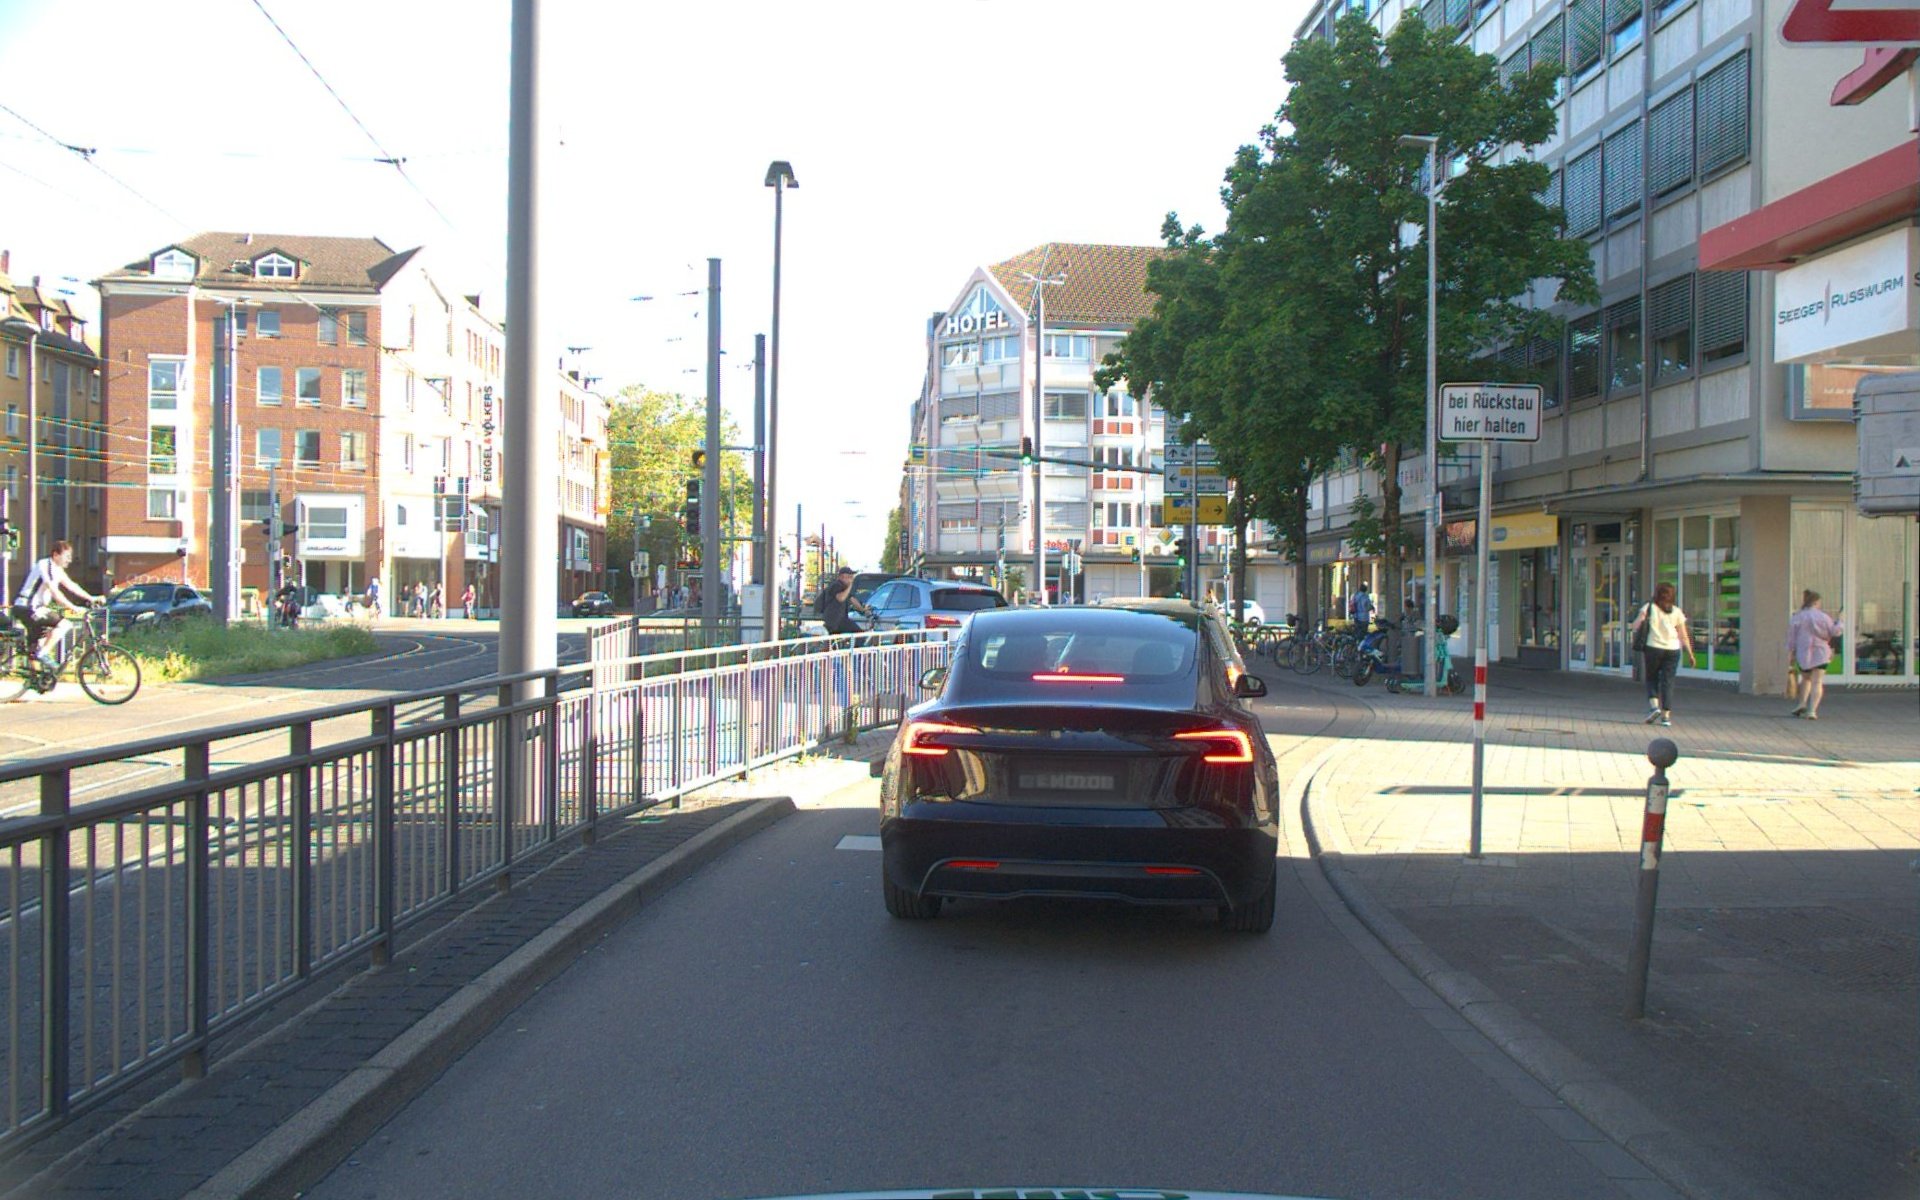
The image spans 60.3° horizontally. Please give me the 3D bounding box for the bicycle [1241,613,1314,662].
[{"bbox_3d":[7.376,0.866,38.398,1.616,1.118,0.350,1,-1,1],"label":"bicycle"}]

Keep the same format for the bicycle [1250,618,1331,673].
[{"bbox_3d":[6.871,0.944,34.368,1.620,1.118,0.349,1,-1,-11],"label":"bicycle"}]

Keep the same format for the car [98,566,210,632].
[{"bbox_3d":[-20.401,-0.019,42.011,1.681,1.553,4.022,1,0,-13],"label":"car"}]

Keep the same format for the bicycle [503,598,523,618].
[{"bbox_3d":[-25.643,0.473,94.942,0.518,1.107,2.225,1,0,1],"label":"bicycle"}]

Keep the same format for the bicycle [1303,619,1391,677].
[{"bbox_3d":[7.375,0.921,31.546,1.620,1.079,0.349,1,-1,-11],"label":"bicycle"}]

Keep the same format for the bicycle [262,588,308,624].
[{"bbox_3d":[-21.484,0.202,52.673,0.449,1.112,2.202,1,0,3],"label":"bicycle"}]

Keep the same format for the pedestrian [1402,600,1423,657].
[{"bbox_3d":[11.007,0.697,40.239,0.381,1.367,0.513,1,-1,1],"label":"pedestrian"}]

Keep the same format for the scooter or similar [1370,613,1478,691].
[{"bbox_3d":[7.655,0.840,27.292,1.610,1.236,0.644,1,-1,30],"label":"scooter or similar"}]

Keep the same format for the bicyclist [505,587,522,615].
[{"bbox_3d":[-25.627,0.038,94.950,0.767,1.590,0.746,1,-1,1],"label":"bicyclist"}]

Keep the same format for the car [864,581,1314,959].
[{"bbox_3d":[0.659,0.691,8.674,1.791,1.481,4.002,1,0,4],"label":"car"}]

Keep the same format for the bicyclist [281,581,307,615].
[{"bbox_3d":[-29.647,-0.096,73.639,0.689,1.496,0.973,0,0,7],"label":"bicyclist"}]

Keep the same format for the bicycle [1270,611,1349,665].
[{"bbox_3d":[7.493,0.807,35.448,1.616,1.118,0.350,1,-1,1],"label":"bicycle"}]

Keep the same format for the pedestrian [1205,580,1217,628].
[{"bbox_3d":[9.145,0.130,60.288,0.393,1.740,0.528,1,-1,6],"label":"pedestrian"}]

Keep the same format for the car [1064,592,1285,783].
[{"bbox_3d":[1.884,0.678,15.068,1.714,1.480,4.003,1,0,6],"label":"car"}]

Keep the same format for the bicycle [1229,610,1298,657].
[{"bbox_3d":[7.420,0.820,40.440,1.616,1.118,0.350,1,-1,1],"label":"bicycle"}]

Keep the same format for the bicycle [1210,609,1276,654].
[{"bbox_3d":[7.285,0.801,42.577,1.616,1.118,0.350,1,-1,1],"label":"bicycle"}]

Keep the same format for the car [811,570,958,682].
[{"bbox_3d":[-1.555,0.487,32.593,1.962,2.049,3.981,0,0,-17],"label":"car"}]

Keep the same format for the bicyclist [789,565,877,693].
[{"bbox_3d":[-1.701,0.379,22.116,0.753,1.657,0.964,1,-1,-39],"label":"bicyclist"}]

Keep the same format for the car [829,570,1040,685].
[{"bbox_3d":[-0.504,0.409,26.458,1.859,1.691,4.125,1,0,-25],"label":"car"}]

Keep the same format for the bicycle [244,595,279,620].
[{"bbox_3d":[-28.480,0.321,67.460,0.513,0.988,2.246,1,0,-1],"label":"bicycle"}]

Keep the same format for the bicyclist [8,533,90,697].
[{"bbox_3d":[-10.241,0.167,18.594,0.743,1.790,0.750,1,-1,-32],"label":"bicyclist"}]

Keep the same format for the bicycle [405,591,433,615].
[{"bbox_3d":[-25.567,0.122,78.166,0.518,1.107,2.284,0,0,1],"label":"bicycle"}]

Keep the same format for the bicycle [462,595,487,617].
[{"bbox_3d":[-24.368,0.306,83.023,0.518,1.107,2.225,0,0,1],"label":"bicycle"}]

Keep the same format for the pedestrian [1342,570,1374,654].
[{"bbox_3d":[9.841,0.290,40.913,0.648,2.049,0.579,1,-1,1],"label":"pedestrian"}]

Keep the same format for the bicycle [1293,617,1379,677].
[{"bbox_3d":[7.271,0.910,31.968,1.620,1.118,0.349,1,-1,-11],"label":"bicycle"}]

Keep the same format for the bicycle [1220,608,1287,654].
[{"bbox_3d":[7.355,0.776,41.485,1.616,1.118,0.350,0,0,1],"label":"bicycle"}]

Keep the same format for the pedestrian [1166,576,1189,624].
[{"bbox_3d":[7.905,0.000,60.105,0.685,1.691,0.777,1,-1,-1],"label":"pedestrian"}]

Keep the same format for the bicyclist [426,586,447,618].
[{"bbox_3d":[-25.685,0.089,81.164,0.767,1.590,0.746,0,0,1],"label":"bicyclist"}]

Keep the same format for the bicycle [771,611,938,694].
[{"bbox_3d":[-1.407,0.698,22.414,2.313,1.072,0.622,1,-1,-39],"label":"bicycle"}]

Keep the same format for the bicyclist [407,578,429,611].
[{"bbox_3d":[-25.630,-0.263,78.238,0.767,1.590,0.746,0,0,1],"label":"bicyclist"}]

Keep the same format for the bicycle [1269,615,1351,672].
[{"bbox_3d":[7.088,0.887,33.493,1.620,1.118,0.349,1,-1,-11],"label":"bicycle"}]

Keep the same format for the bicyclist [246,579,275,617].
[{"bbox_3d":[-28.454,-0.096,67.292,0.880,1.529,0.696,1,-1,-1],"label":"bicyclist"}]

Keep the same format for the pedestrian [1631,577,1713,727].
[{"bbox_3d":[8.791,0.628,20.451,0.895,1.783,1.038,1,-1,22],"label":"pedestrian"}]

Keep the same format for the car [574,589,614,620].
[{"bbox_3d":[-21.664,0.257,98.076,1.663,1.762,3.704,1,0,-3],"label":"car"}]

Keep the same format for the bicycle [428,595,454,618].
[{"bbox_3d":[-25.608,0.317,81.670,0.518,1.107,2.284,1,0,1],"label":"bicycle"}]

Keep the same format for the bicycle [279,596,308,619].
[{"bbox_3d":[-29.666,0.331,73.659,0.396,0.998,1.695,1,0,7],"label":"bicycle"}]

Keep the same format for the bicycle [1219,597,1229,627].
[{"bbox_3d":[9.561,0.443,59.863,0.325,1.052,1.257,1,0,8],"label":"bicycle"}]

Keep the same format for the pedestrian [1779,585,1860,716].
[{"bbox_3d":[11.411,0.656,21.980,0.871,1.696,0.808,1,-1,23],"label":"pedestrian"}]

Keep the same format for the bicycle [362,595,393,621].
[{"bbox_3d":[-25.537,0.358,72.532,0.526,1.107,2.225,1,0,1],"label":"bicycle"}]

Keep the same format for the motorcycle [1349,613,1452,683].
[{"bbox_3d":[7.803,0.840,29.315,1.673,1.194,0.541,1,-1,-3],"label":"motorcycle"}]

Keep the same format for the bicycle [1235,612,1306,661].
[{"bbox_3d":[7.392,0.867,39.425,1.616,1.118,0.350,1,-1,1],"label":"bicycle"}]

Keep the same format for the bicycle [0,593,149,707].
[{"bbox_3d":[-10.184,0.555,18.627,1.832,1.244,0.480,1,-1,-34],"label":"bicycle"}]

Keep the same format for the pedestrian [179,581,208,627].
[{"bbox_3d":[-31.134,0.173,67.182,0.767,1.852,0.746,1,-1,1],"label":"pedestrian"}]

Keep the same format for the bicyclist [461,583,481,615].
[{"bbox_3d":[-24.443,-0.040,82.667,0.767,1.590,0.746,0,0,1],"label":"bicyclist"}]

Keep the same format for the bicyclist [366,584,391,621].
[{"bbox_3d":[-25.507,0.120,72.566,0.767,1.590,0.746,1,-1,1],"label":"bicyclist"}]

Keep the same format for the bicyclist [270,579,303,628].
[{"bbox_3d":[-21.480,0.106,52.749,0.769,1.554,0.589,1,-1,4],"label":"bicyclist"}]

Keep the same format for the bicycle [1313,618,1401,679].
[{"bbox_3d":[7.472,0.918,31.126,1.620,1.118,0.349,1,-1,-11],"label":"bicycle"}]
